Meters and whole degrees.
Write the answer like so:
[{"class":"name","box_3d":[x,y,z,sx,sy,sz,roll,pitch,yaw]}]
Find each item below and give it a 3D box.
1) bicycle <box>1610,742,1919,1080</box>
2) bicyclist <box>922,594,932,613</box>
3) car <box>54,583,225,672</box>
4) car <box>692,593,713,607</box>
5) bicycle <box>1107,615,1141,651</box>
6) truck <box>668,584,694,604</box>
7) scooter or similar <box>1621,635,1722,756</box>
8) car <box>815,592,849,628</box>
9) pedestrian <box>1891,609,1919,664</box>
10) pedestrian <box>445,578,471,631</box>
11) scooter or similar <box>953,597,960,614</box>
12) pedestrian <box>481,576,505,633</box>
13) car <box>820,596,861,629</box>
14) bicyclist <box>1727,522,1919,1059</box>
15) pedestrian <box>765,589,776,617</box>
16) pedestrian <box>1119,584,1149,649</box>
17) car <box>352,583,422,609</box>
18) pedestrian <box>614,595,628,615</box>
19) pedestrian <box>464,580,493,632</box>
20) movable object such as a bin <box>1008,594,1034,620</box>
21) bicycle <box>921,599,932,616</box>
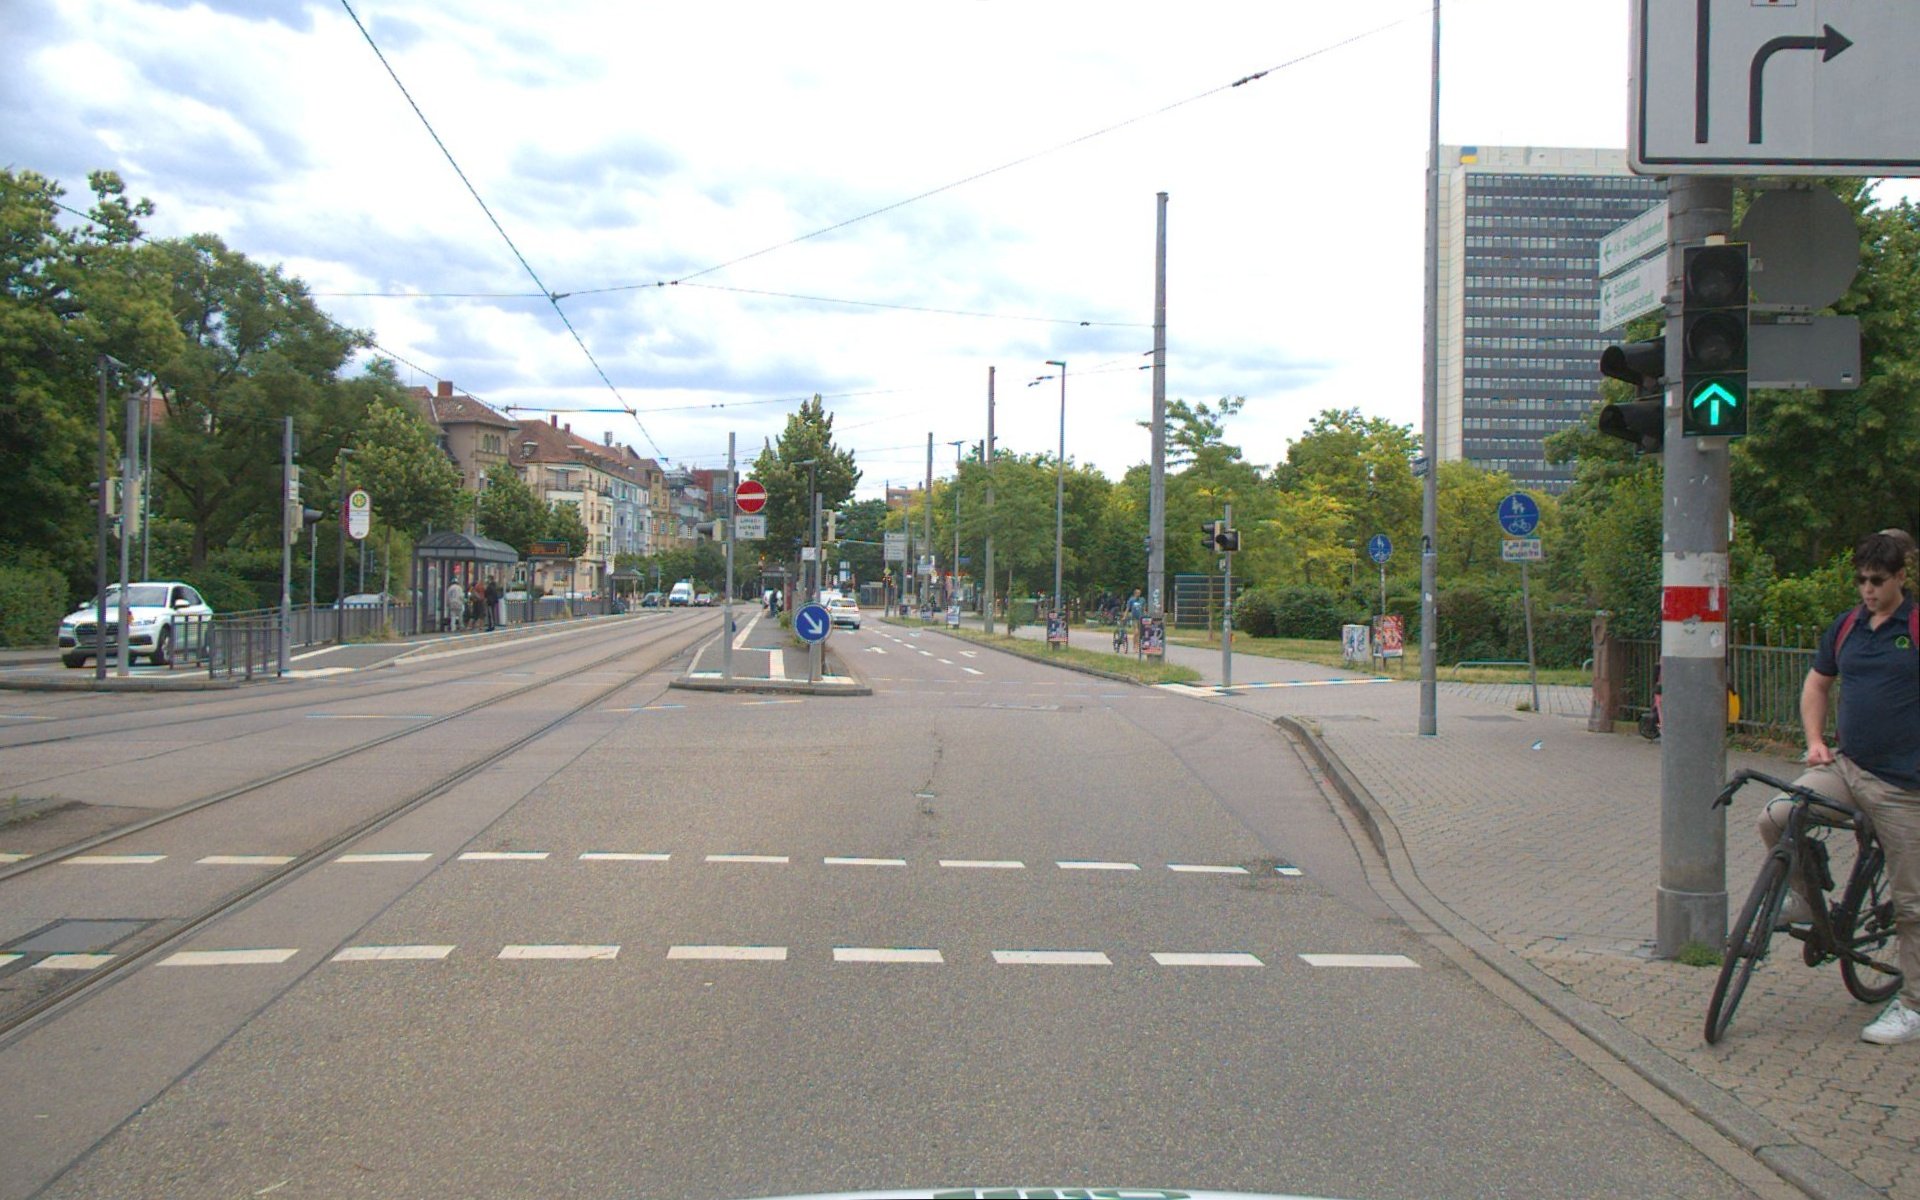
[{"class":"bicycle","box_3d":[3.278,1.067,6.162,1.849,0.940,0.785,1,0,-39]},{"class":"bicyclist","box_3d":[-2.430,0.240,120.260,0.666,1.404,0.727,1,0,-5]},{"class":"car","box_3d":[-16.613,0.537,33.732,1.737,1.668,4.529,1,0,-8]},{"class":"car","box_3d":[-28.679,-0.008,184.087,1.734,1.519,3.886,1,0,0]},{"class":"bicycle","box_3d":[4.830,0.957,48.759,0.642,1.020,1.777,1,0,-6]},{"class":"truck","box_3d":[-28.706,-0.598,170.470,1.751,2.068,5.395,1,0,0]},{"class":"scooter or similar","box_3d":[7.272,0.954,16.945,0.369,1.161,1.197,0,0,-9]},{"class":"car","box_3d":[-7.473,0.555,96.046,1.748,1.997,4.376,1,0,-7]},{"class":"pedestrian","box_3d":[21.120,0.813,36.790,0.582,1.204,0.623,1,0,42]},{"class":"pedestrian","box_3d":[-15.708,0.150,51.738,0.665,1.652,0.633,0,0,-7]},{"class":"scooter or similar","box_3d":[-0.249,0.377,117.983,0.368,1.161,1.200,0,0,4]},{"class":"pedestrian","box_3d":[-14.464,0.127,51.245,0.688,1.745,0.696,1,0,-15]},{"class":"car","box_3d":[-5.690,0.579,78.636,1.748,1.498,4.004,1,0,-7]},{"class":"bicyclist","box_3d":[3.403,0.648,6.014,0.675,1.826,0.879,1,0,-38]},{"class":"pedestrian","box_3d":[-10.517,0.165,91.877,0.521,1.585,0.570,1,0,-3]},{"class":"pedestrian","box_3d":[5.134,0.484,48.861,0.725,1.902,0.681,0,0,-6]},{"class":"car","box_3d":[-36.015,-0.251,104.019,3.800,1.519,1.773,1,0,-7]},{"class":"pedestrian","box_3d":[-21.931,0.320,107.134,0.849,1.289,0.692,1,0,-9]},{"class":"pedestrian","box_3d":[-15.857,0.191,54.475,0.754,1.689,1.023,0,0,-9]},{"class":"movable object such as a bin","box_3d":[3.400,0.411,92.047,1.257,1.414,1.158,1,0,-6]},{"class":"bicycle","box_3d":[-2.420,0.550,120.252,0.666,1.175,1.896,1,0,-5]}]
